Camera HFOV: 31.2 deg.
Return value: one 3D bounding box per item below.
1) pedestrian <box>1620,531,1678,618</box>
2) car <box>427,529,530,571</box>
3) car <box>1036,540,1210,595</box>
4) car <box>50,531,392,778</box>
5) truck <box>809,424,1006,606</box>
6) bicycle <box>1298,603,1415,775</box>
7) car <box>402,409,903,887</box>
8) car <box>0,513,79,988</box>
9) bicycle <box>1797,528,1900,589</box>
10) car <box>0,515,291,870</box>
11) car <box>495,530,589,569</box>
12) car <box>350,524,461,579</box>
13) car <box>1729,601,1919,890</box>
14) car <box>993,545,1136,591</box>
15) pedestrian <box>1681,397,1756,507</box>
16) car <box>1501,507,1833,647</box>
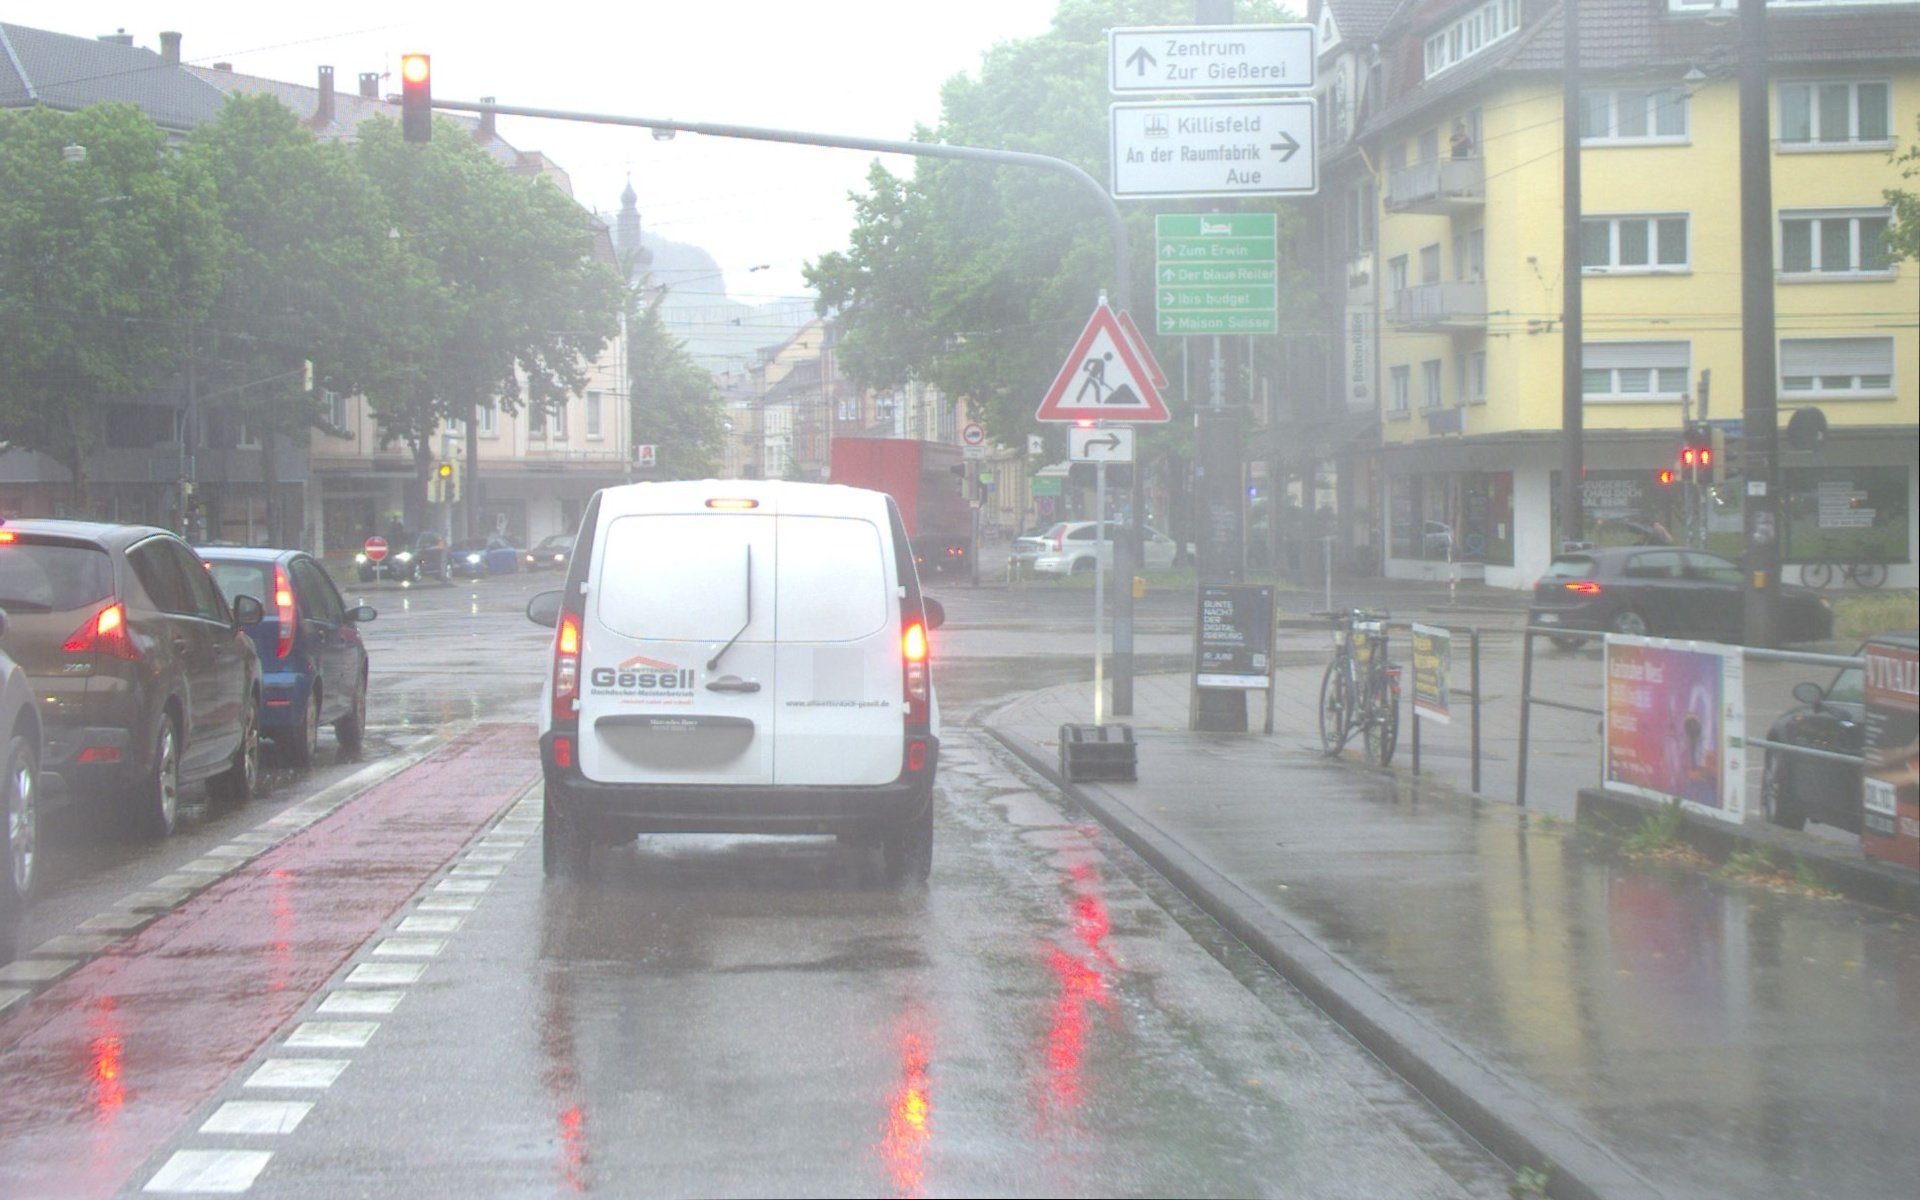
[{"bbox_3d":[12.199,-0.449,60.839,0.814,1.528,0.622,0,1,-41],"label":"pedestrian"},{"bbox_3d":[-15.684,-1.639,112.082,1.952,1.235,3.998,1,2,14],"label":"car"},{"bbox_3d":[4.098,-0.834,86.631,4.165,1.334,1.521,0,2,-10],"label":"car"},{"bbox_3d":[-5.074,0.322,24.055,1.727,1.573,3.821,1,1,-3],"label":"car"},{"bbox_3d":[-1.385,-2.514,104.161,3.471,5.070,15.302,1,1,8],"label":"truck"},{"bbox_3d":[2.813,0.612,24.548,0.514,1.103,2.017,3,1,-1],"label":"bicycle"},{"bbox_3d":[-1.407,0.171,16.931,2.100,2.005,4.963,0,1,-3],"label":"car"},{"bbox_3d":[-4.514,0.562,11.928,2.024,1.764,4.463,1,1,-4],"label":"car"},{"bbox_3d":[18.967,-0.891,73.403,2.102,1.257,0.532,1,2,12],"label":"bicycle"},{"bbox_3d":[-4.786,0.396,18.222,1.834,1.662,4.173,1,1,-3],"label":"car"},{"bbox_3d":[-14.530,-1.765,119.762,1.952,1.235,3.998,1,2,14],"label":"car"},{"bbox_3d":[-17.093,-1.518,106.141,1.952,1.602,3.998,1,2,14],"label":"car"},{"bbox_3d":[5.919,0.842,20.587,1.705,1.437,3.525,3,2,-1],"label":"car"},{"bbox_3d":[2.680,-0.822,88.476,3.441,1.126,1.472,0,1,-10],"label":"car"},{"bbox_3d":[11.734,-2.282,53.166,0.905,1.663,1.018,1,1,25],"label":"pedestrian"},{"bbox_3d":[9.716,-0.324,47.391,3.986,1.859,2.001,0,1,-11],"label":"car"}]
